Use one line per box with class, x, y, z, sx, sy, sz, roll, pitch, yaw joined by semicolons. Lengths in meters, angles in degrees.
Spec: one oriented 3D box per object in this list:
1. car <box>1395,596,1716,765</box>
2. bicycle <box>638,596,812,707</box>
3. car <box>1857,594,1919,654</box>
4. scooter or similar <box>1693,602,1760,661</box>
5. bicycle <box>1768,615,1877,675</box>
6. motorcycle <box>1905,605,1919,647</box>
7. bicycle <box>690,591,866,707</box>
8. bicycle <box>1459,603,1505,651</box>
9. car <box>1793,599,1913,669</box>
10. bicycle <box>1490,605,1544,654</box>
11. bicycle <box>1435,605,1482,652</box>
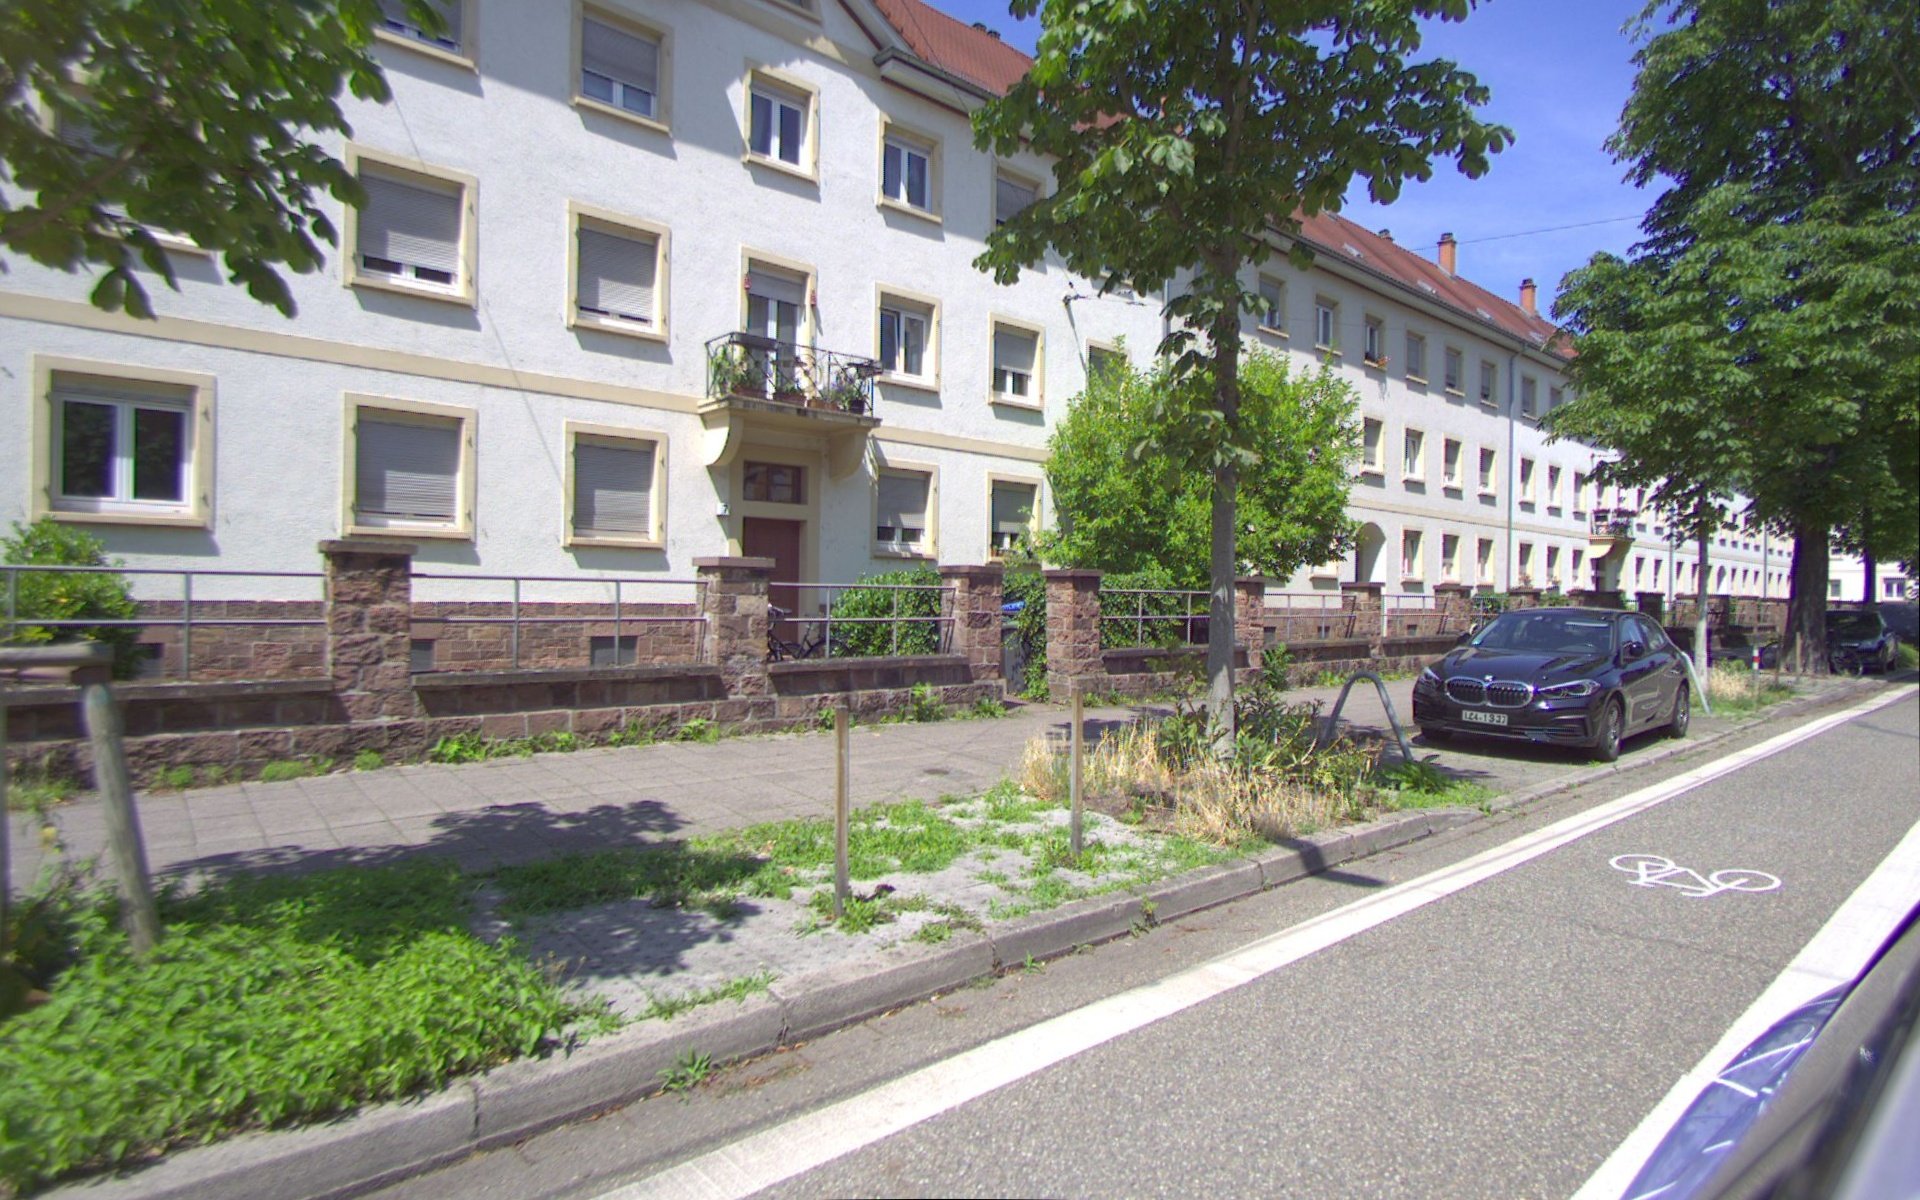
car;6.750;0.736;11.202;4.780;1.444;1.771;1;1;-43
bicycle;-2.518;0.528;10.976;1.773;1.116;0.500;1;1;-38
car;28.602;0.716;30.129;4.789;1.671;1.953;1;1;-38
scooter or similar;16.378;0.677;21.622;1.222;1.228;0.381;1;0;-10
bicycle;17.611;0.899;20.690;1.652;1.091;0.597;2;1;43
motorcycle;33.664;0.920;34.612;1.911;1.451;0.661;1;0;41
bicycle;-1.877;0.487;10.623;1.773;1.116;0.500;1;1;-38
bicycle;12.549;0.627;24.313;0.478;1.091;1.894;1;1;43
car;20.957;0.746;23.700;4.283;1.436;1.696;1;1;-43
bicycle;12.986;0.672;23.576;1.890;1.091;0.479;1;1;-41
bicycle;12.173;0.682;24.689;0.478;1.091;1.894;1;1;43
